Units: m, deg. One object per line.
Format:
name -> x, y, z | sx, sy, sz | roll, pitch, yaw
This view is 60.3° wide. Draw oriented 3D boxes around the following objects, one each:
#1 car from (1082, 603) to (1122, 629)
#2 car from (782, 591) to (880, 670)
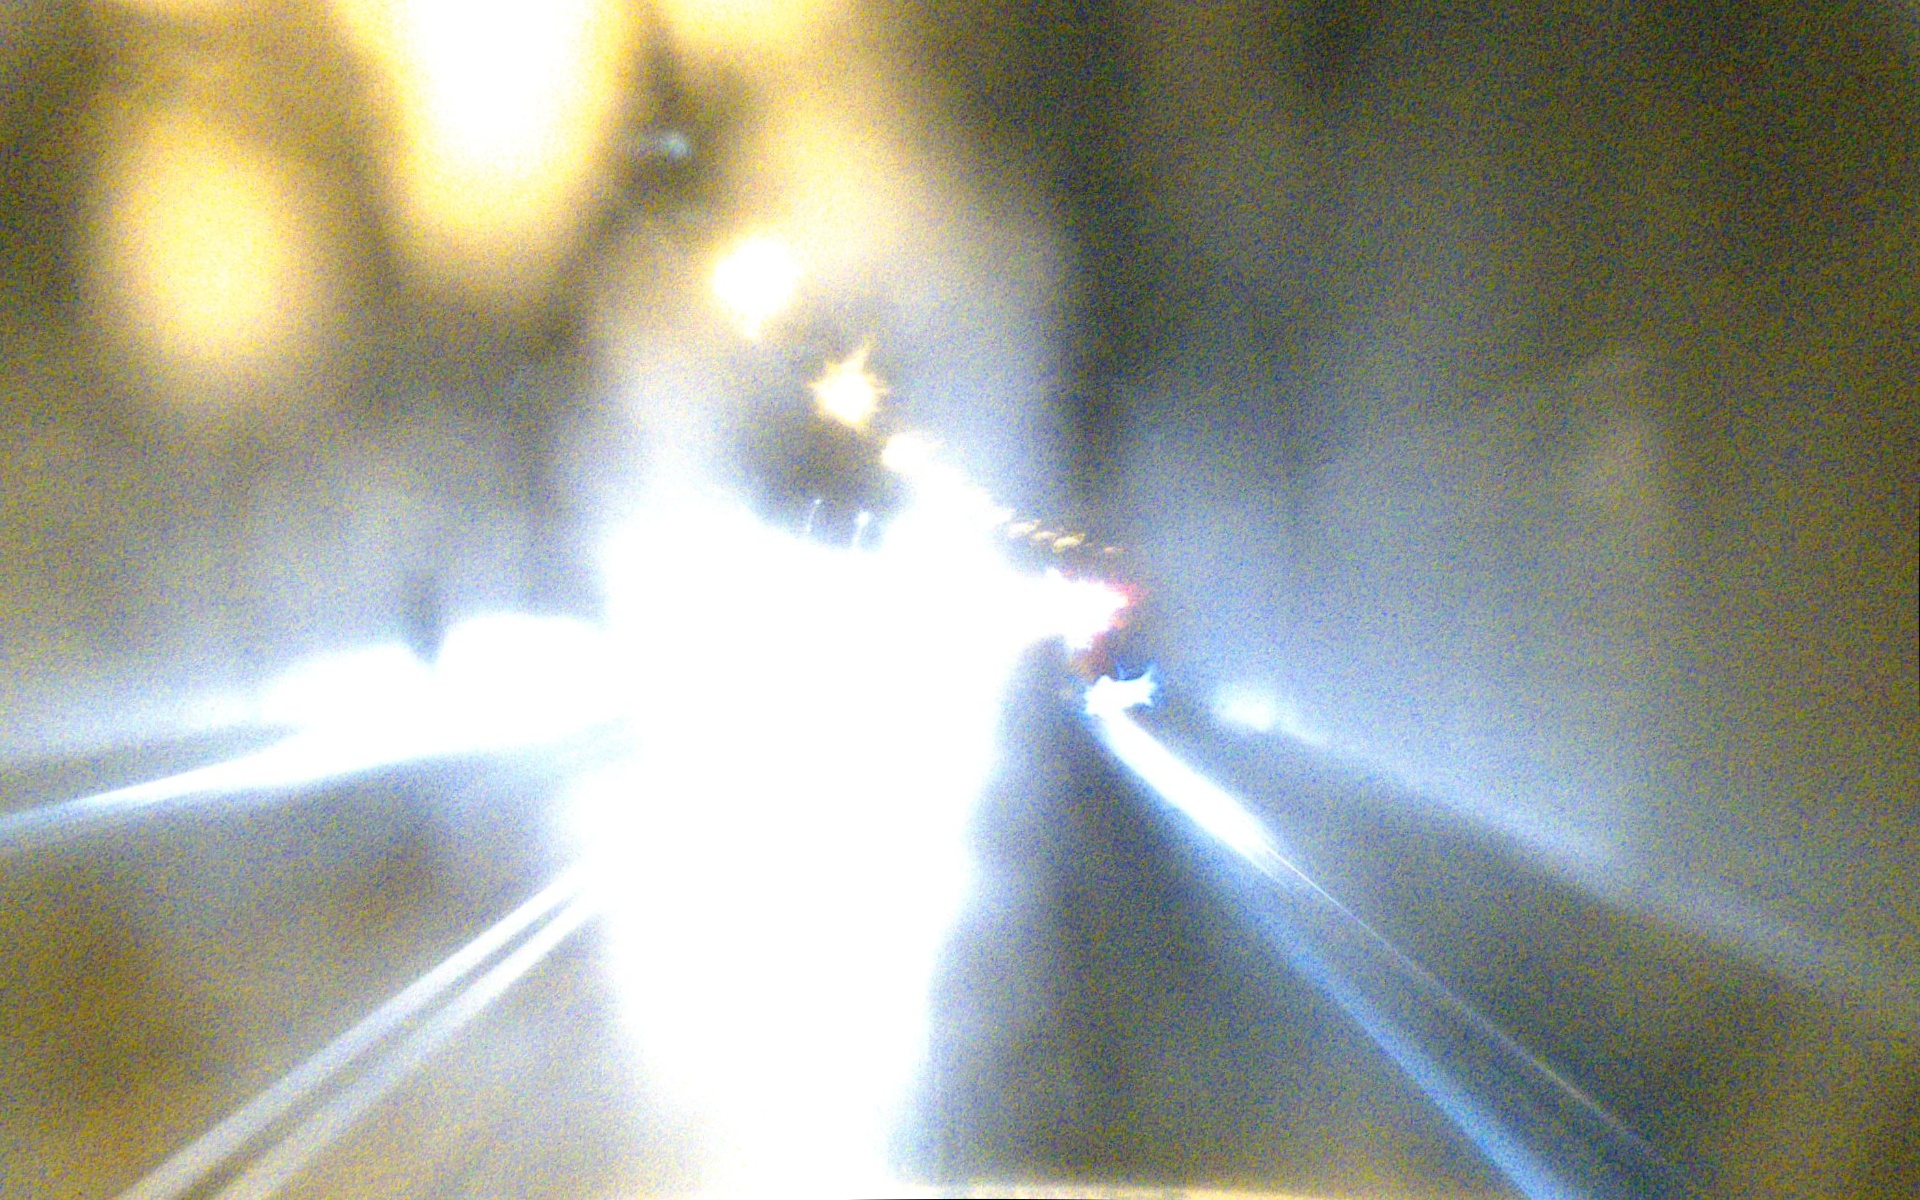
car -> 9.375, 1.031, 108.856 | 1.951, 1.679, 4.003 | 1, 0, 15
car -> -2.692, 0.605, 35.189 | 1.673, 1.536, 4.079 | 1, 0, 1
